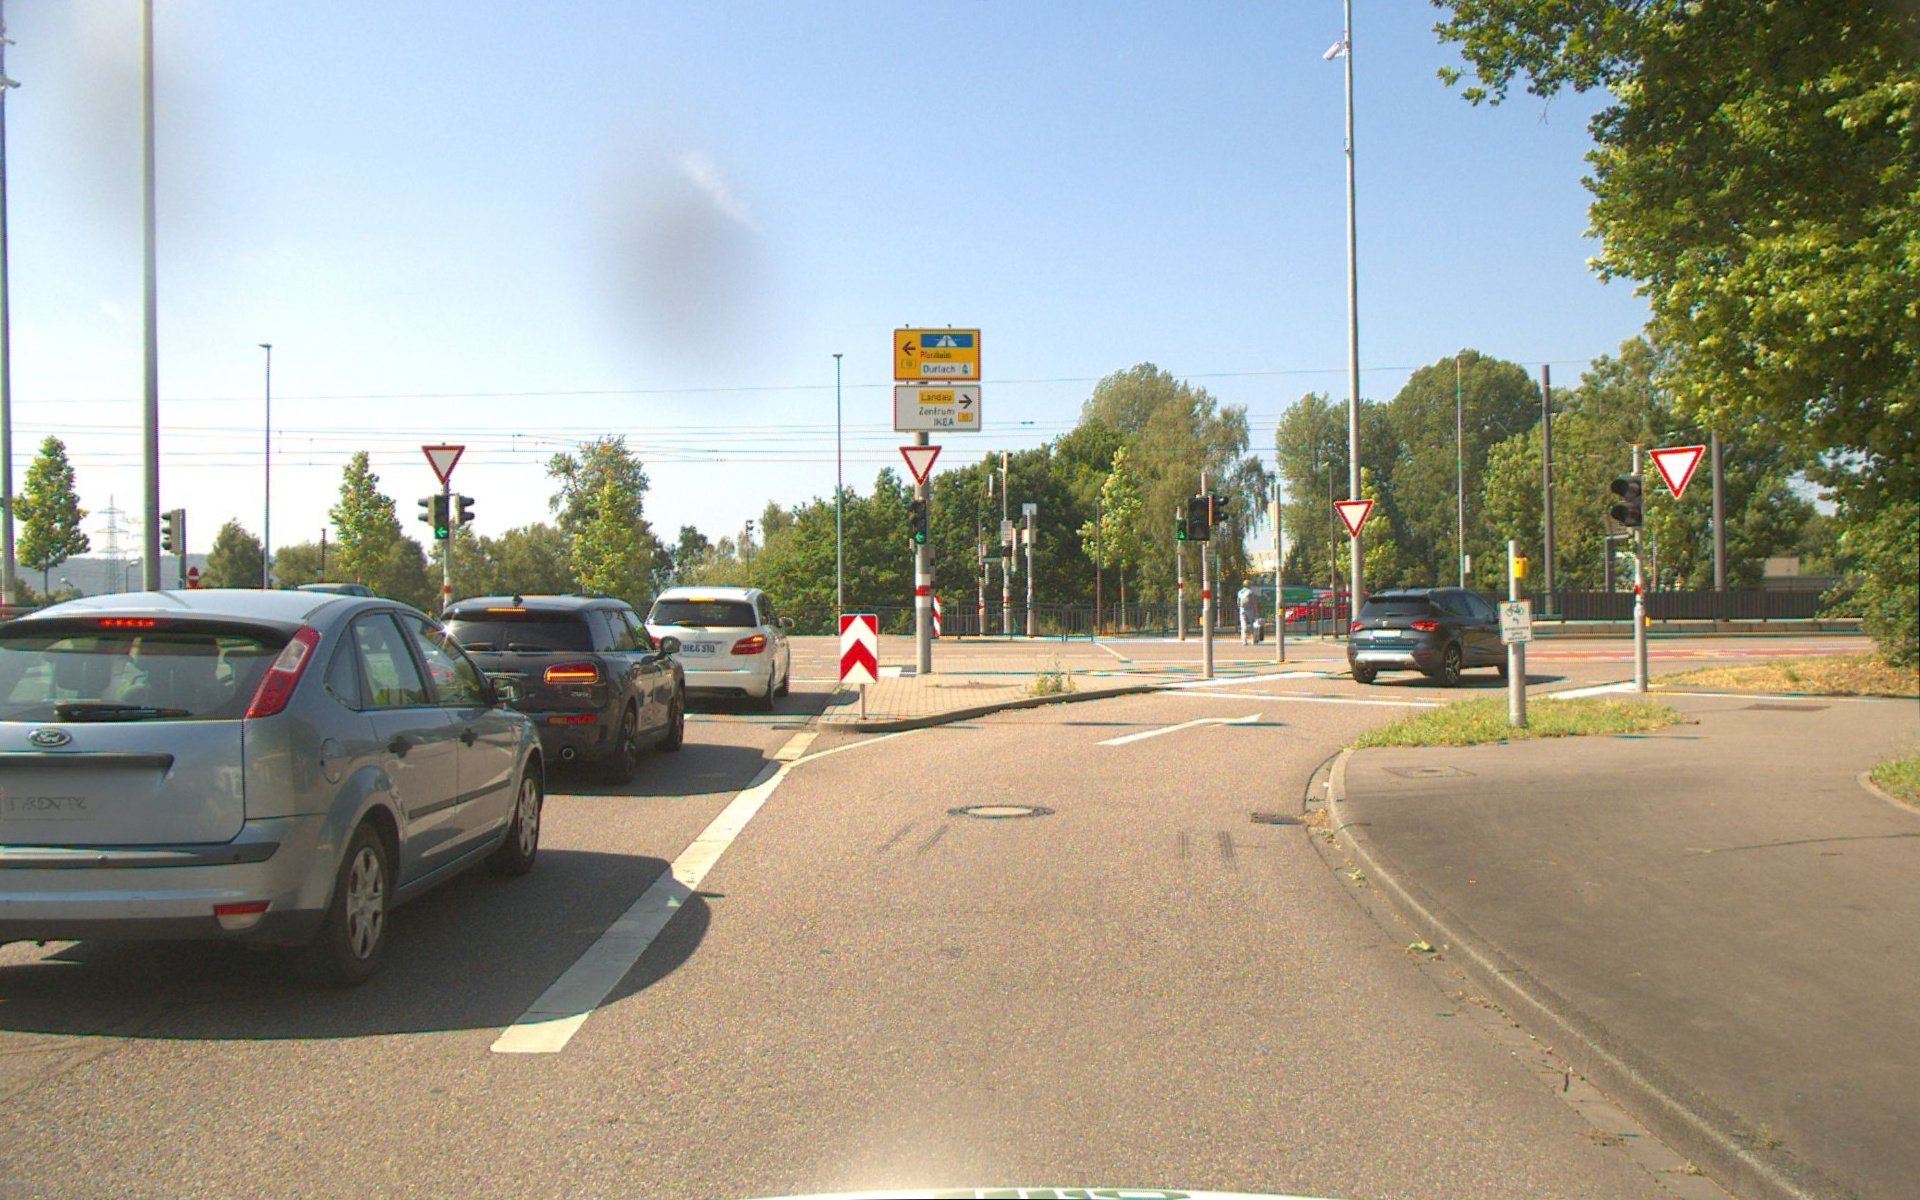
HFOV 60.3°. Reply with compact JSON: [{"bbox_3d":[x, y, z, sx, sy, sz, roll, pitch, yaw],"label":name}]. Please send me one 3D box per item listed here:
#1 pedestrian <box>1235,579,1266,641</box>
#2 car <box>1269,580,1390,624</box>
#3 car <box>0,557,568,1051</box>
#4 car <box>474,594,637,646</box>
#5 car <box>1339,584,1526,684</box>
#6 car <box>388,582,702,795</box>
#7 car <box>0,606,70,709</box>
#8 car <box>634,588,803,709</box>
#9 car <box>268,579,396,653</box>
[{"bbox_3d":[7.382,0.247,42.024,0.756,1.537,1.008,-1,1,10],"label":"pedestrian"},{"bbox_3d":[13.232,0.069,59.338,3.908,1.470,1.745,-1,0,-3],"label":"car"},{"bbox_3d":[-3.028,0.659,7.455,1.672,1.601,4.172,0,0,-2],"label":"car"},{"bbox_3d":[-13.063,0.611,53.642,4.775,1.529,2.033,-1,0,-43],"label":"car"},{"bbox_3d":[7.894,0.536,27.503,1.647,1.550,3.354,0,0,44],"label":"car"},{"bbox_3d":[-3.413,0.654,14.416,1.702,1.538,4.199,-1,0,-1],"label":"car"},{"bbox_3d":[-10.188,0.594,16.623,1.094,1.021,2.492,-1,0,1],"label":"car"},{"bbox_3d":[-3.156,0.584,22.407,1.706,1.473,4.388,0,0,-1],"label":"car"},{"bbox_3d":[-15.074,0.339,39.925,1.594,1.653,3.917,-1,1,-1],"label":"car"}]
